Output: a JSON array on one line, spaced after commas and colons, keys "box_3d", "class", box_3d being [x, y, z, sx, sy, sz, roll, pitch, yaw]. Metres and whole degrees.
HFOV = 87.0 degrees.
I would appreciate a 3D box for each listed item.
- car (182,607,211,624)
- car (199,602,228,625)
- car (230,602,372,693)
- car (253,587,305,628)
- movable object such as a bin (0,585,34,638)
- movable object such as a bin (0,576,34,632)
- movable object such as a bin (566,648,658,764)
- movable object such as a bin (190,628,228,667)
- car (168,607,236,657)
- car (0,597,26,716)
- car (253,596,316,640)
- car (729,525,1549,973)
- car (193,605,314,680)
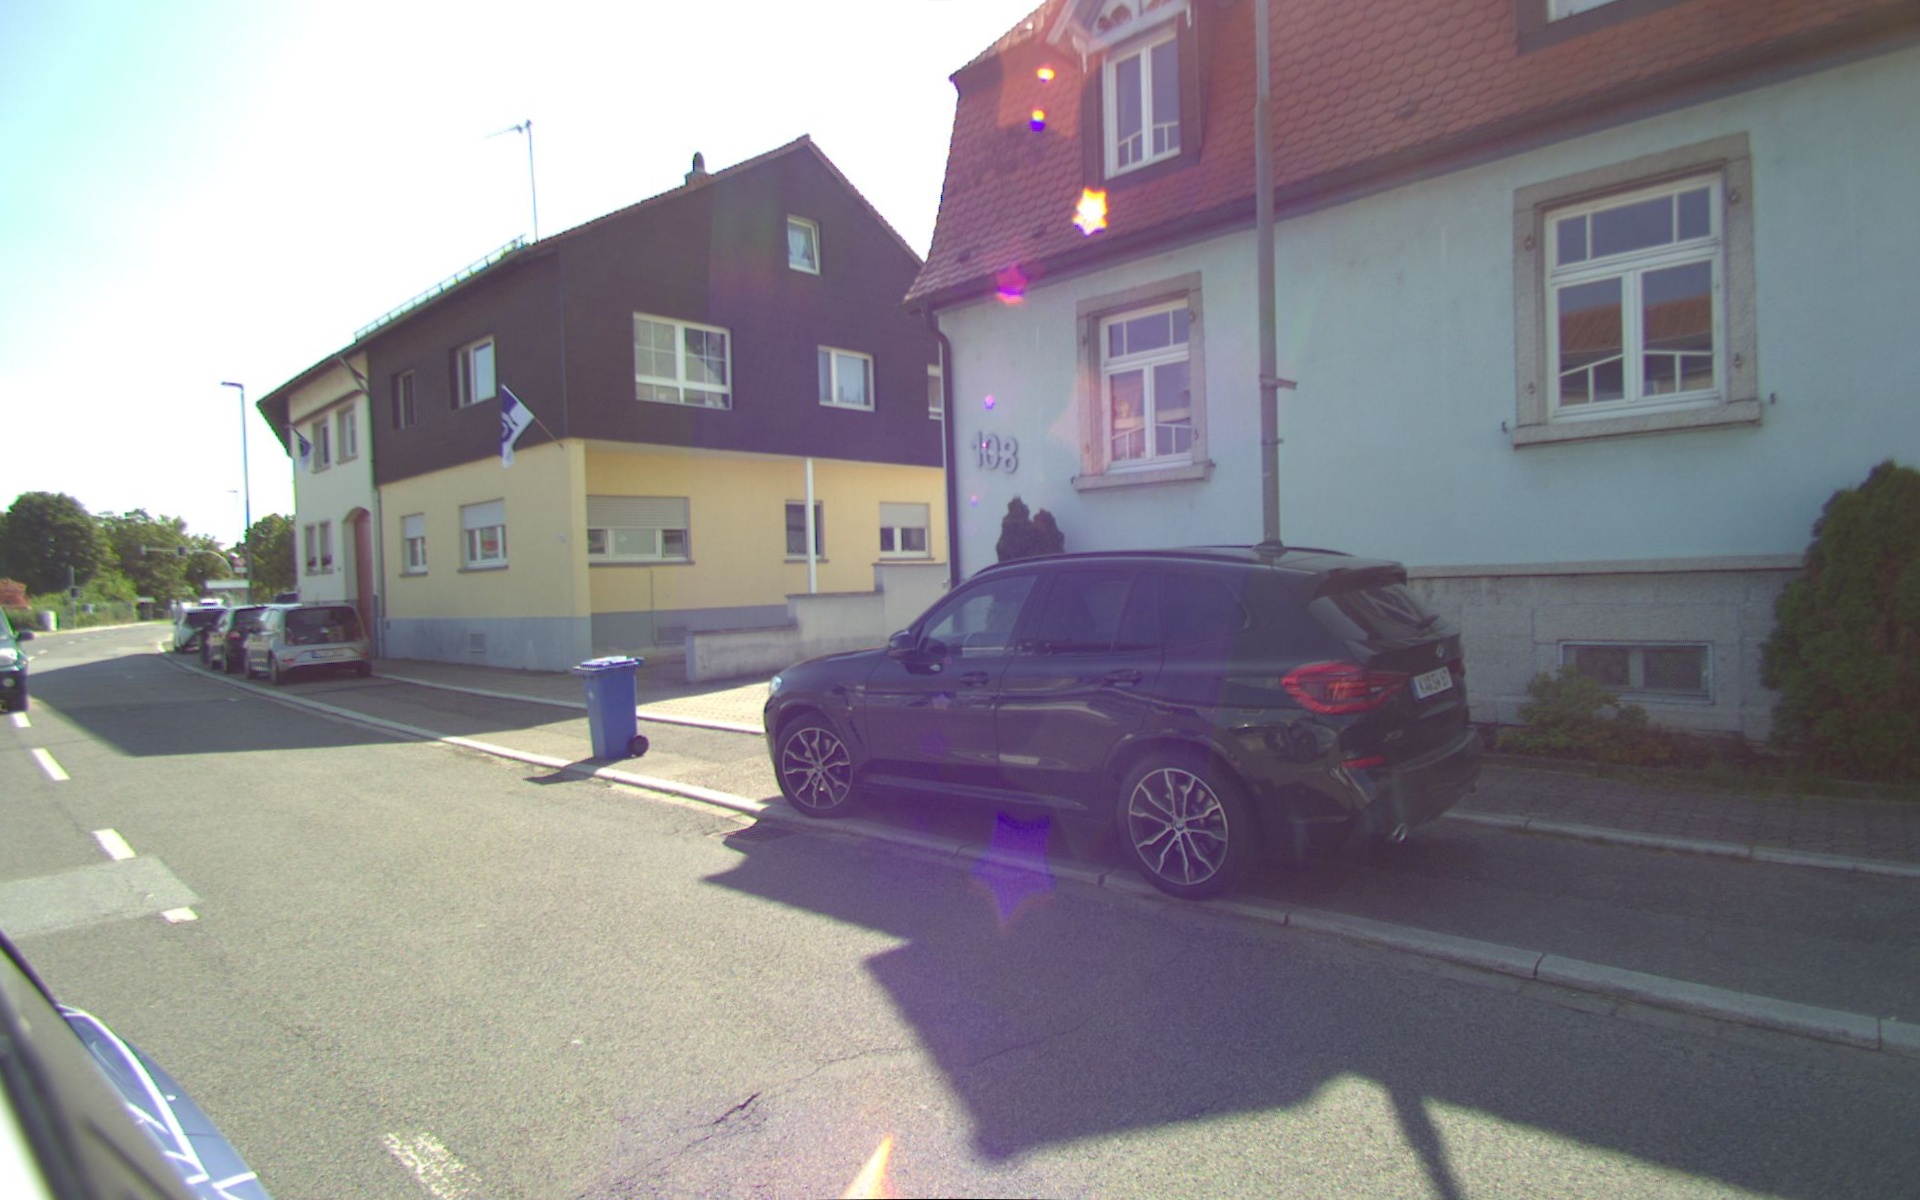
[{"box_3d": [-80.783, 1.621, 107.113, 1.815, 1.604, 4.119, -1, 1, -29], "class": "car"}, {"box_3d": [-86.572, 1.566, 117.388, 1.907, 2.521, 5.856, -1, 1, -29], "class": "car"}, {"box_3d": [-13.097, 0.862, 20.036, 1.622, 1.512, 3.785, -5, 3, -43], "class": "car"}, {"box_3d": [-38.844, 0.380, 57.684, 2.099, 2.000, 5.278, -8, 5, -36], "class": "car"}, {"box_3d": [-80.557, 1.060, 78.080, 13.079, 4.196, 2.870, -2, 0, -36], "class": "movable object such as a bin"}, {"box_3d": [-76.134, 0.460, 71.205, 15.840, 4.048, 2.780, -2, 0, -36], "class": "movable object such as a bin"}, {"box_3d": [-3.270, 0.977, 9.518, 0.531, 0.989, 0.590, -1, 2, 43], "class": "movable object such as a bin"}, {"box_3d": [-19.348, 1.219, 26.067, 0.825, 0.935, 0.546, -2, 4, 41], "class": "movable object such as a bin"}, {"box_3d": [-24.938, 0.996, 33.259, 1.662, 1.473, 3.656, -3, 2, -38], "class": "car"}, {"box_3d": [-15.771, 0.885, 15.688, 1.822, 1.709, 4.403, -1, -1, -42], "class": "car"}, {"box_3d": [-31.054, 0.777, 46.645, 1.811, 1.806, 4.357, -5, 2, -27], "class": "car"}, {"box_3d": [0.698, 0.536, 6.190, 1.898, 1.680, 4.669, -5, 3, -44], "class": "car"}, {"box_3d": [-16.524, 0.924, 23.600, 1.659, 1.447, 3.999, -6, 4, -43], "class": "car"}]
